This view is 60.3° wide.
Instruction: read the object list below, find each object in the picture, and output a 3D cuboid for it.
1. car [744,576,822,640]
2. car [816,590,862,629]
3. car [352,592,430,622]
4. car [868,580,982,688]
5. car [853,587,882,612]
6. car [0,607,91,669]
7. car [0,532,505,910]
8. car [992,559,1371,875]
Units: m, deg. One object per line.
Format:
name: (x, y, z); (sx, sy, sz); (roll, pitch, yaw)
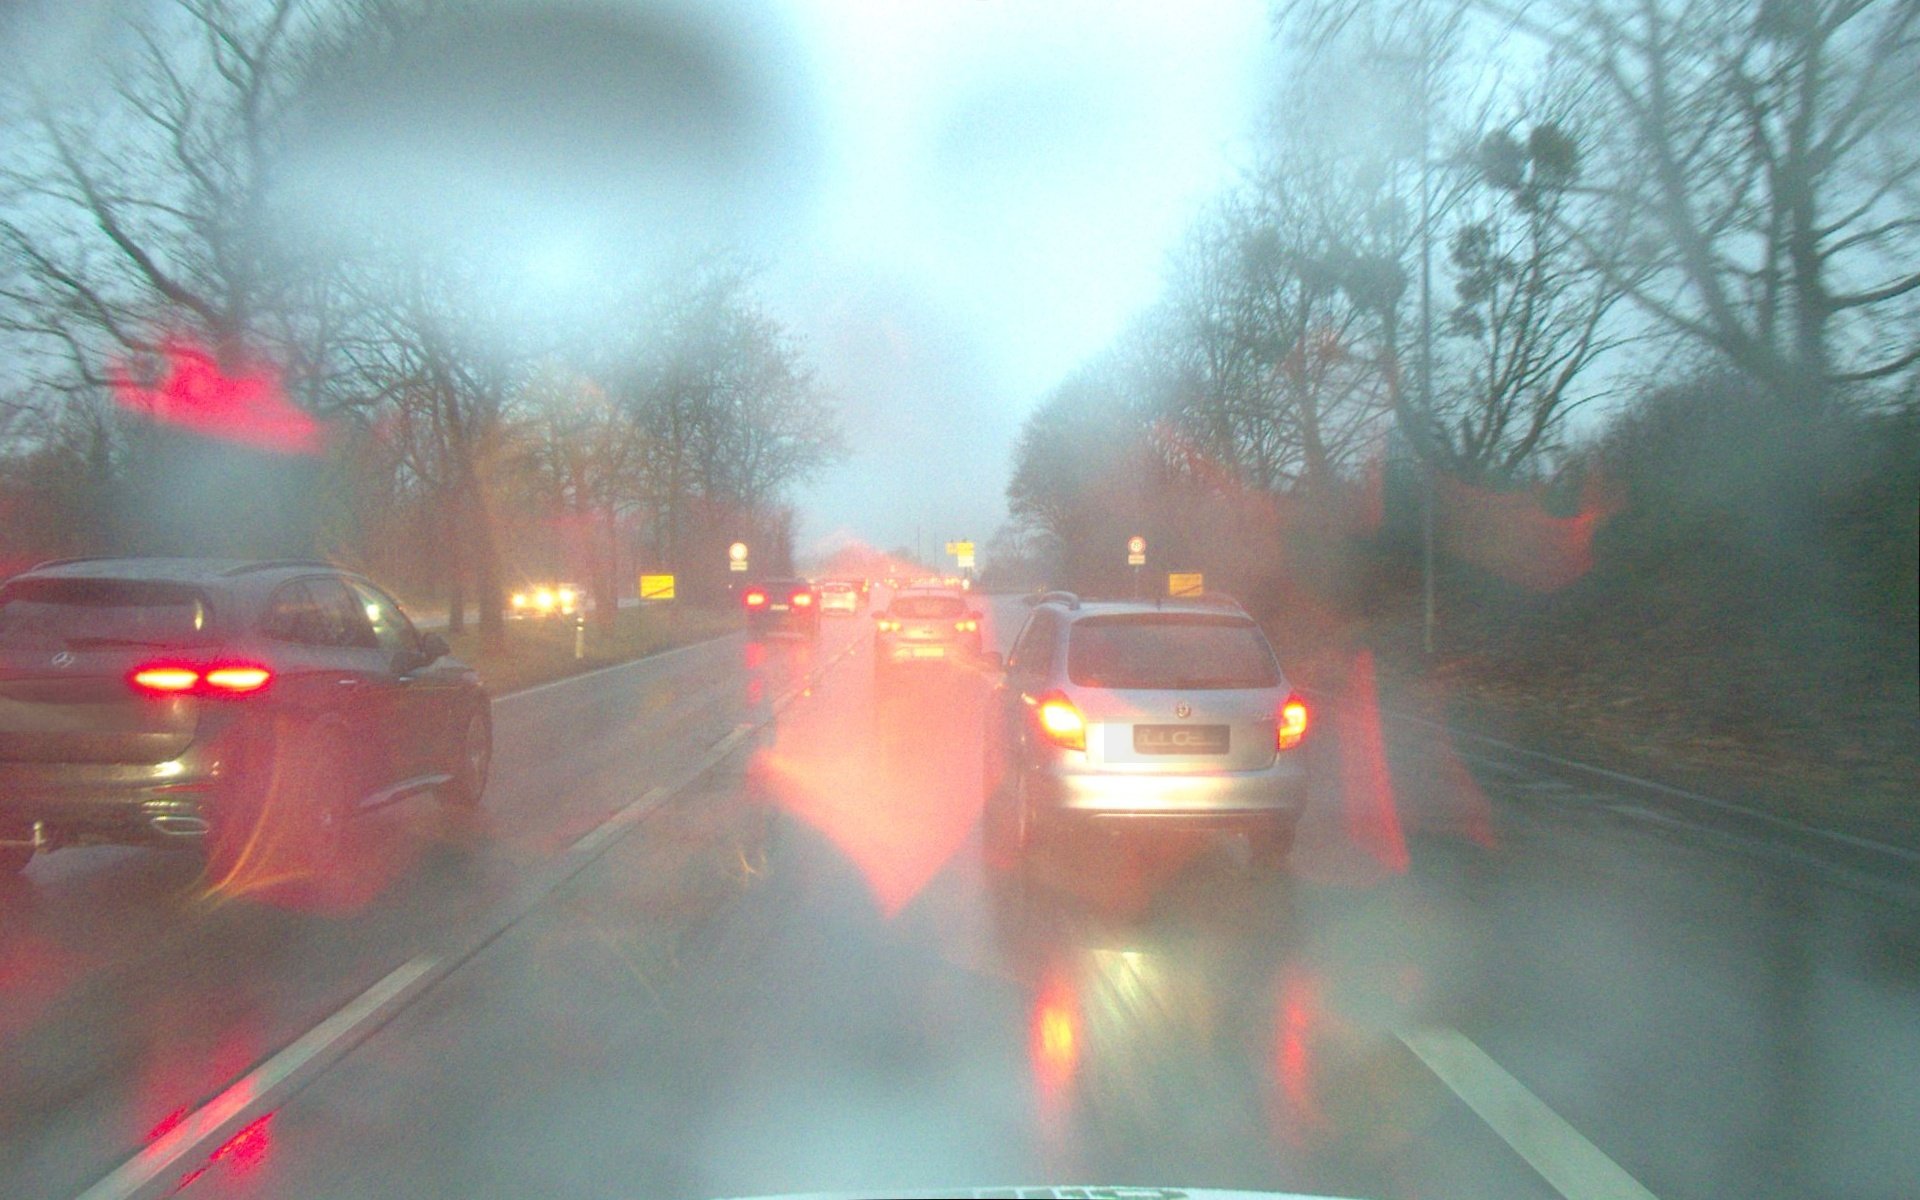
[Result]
car: (-4.864, 0.230, 45.884); (1.785, 1.677, 3.999); (0, -1, -1)
car: (-5.347, 0.418, 73.367); (1.785, 1.677, 3.999); (0, -1, -1)
car: (-24.303, 0.316, 70.796); (1.953, 1.212, 3.999); (1, -1, 0)
car: (-0.589, 0.581, 28.550); (1.785, 1.677, 4.465); (1, -1, -1)
car: (-5.302, -0.026, 94.767); (1.474, 1.362, 3.999); (0, -1, -1)
car: (-24.612, 0.953, 43.106); (1.715, 1.508, 4.197); (0, 0, 0)
car: (-4.068, 0.557, 9.603); (1.786, 1.677, 4.464); (0, -1, -2)
car: (1.248, 0.675, 11.184); (1.894, 1.677, 4.465); (1, -1, -1)
